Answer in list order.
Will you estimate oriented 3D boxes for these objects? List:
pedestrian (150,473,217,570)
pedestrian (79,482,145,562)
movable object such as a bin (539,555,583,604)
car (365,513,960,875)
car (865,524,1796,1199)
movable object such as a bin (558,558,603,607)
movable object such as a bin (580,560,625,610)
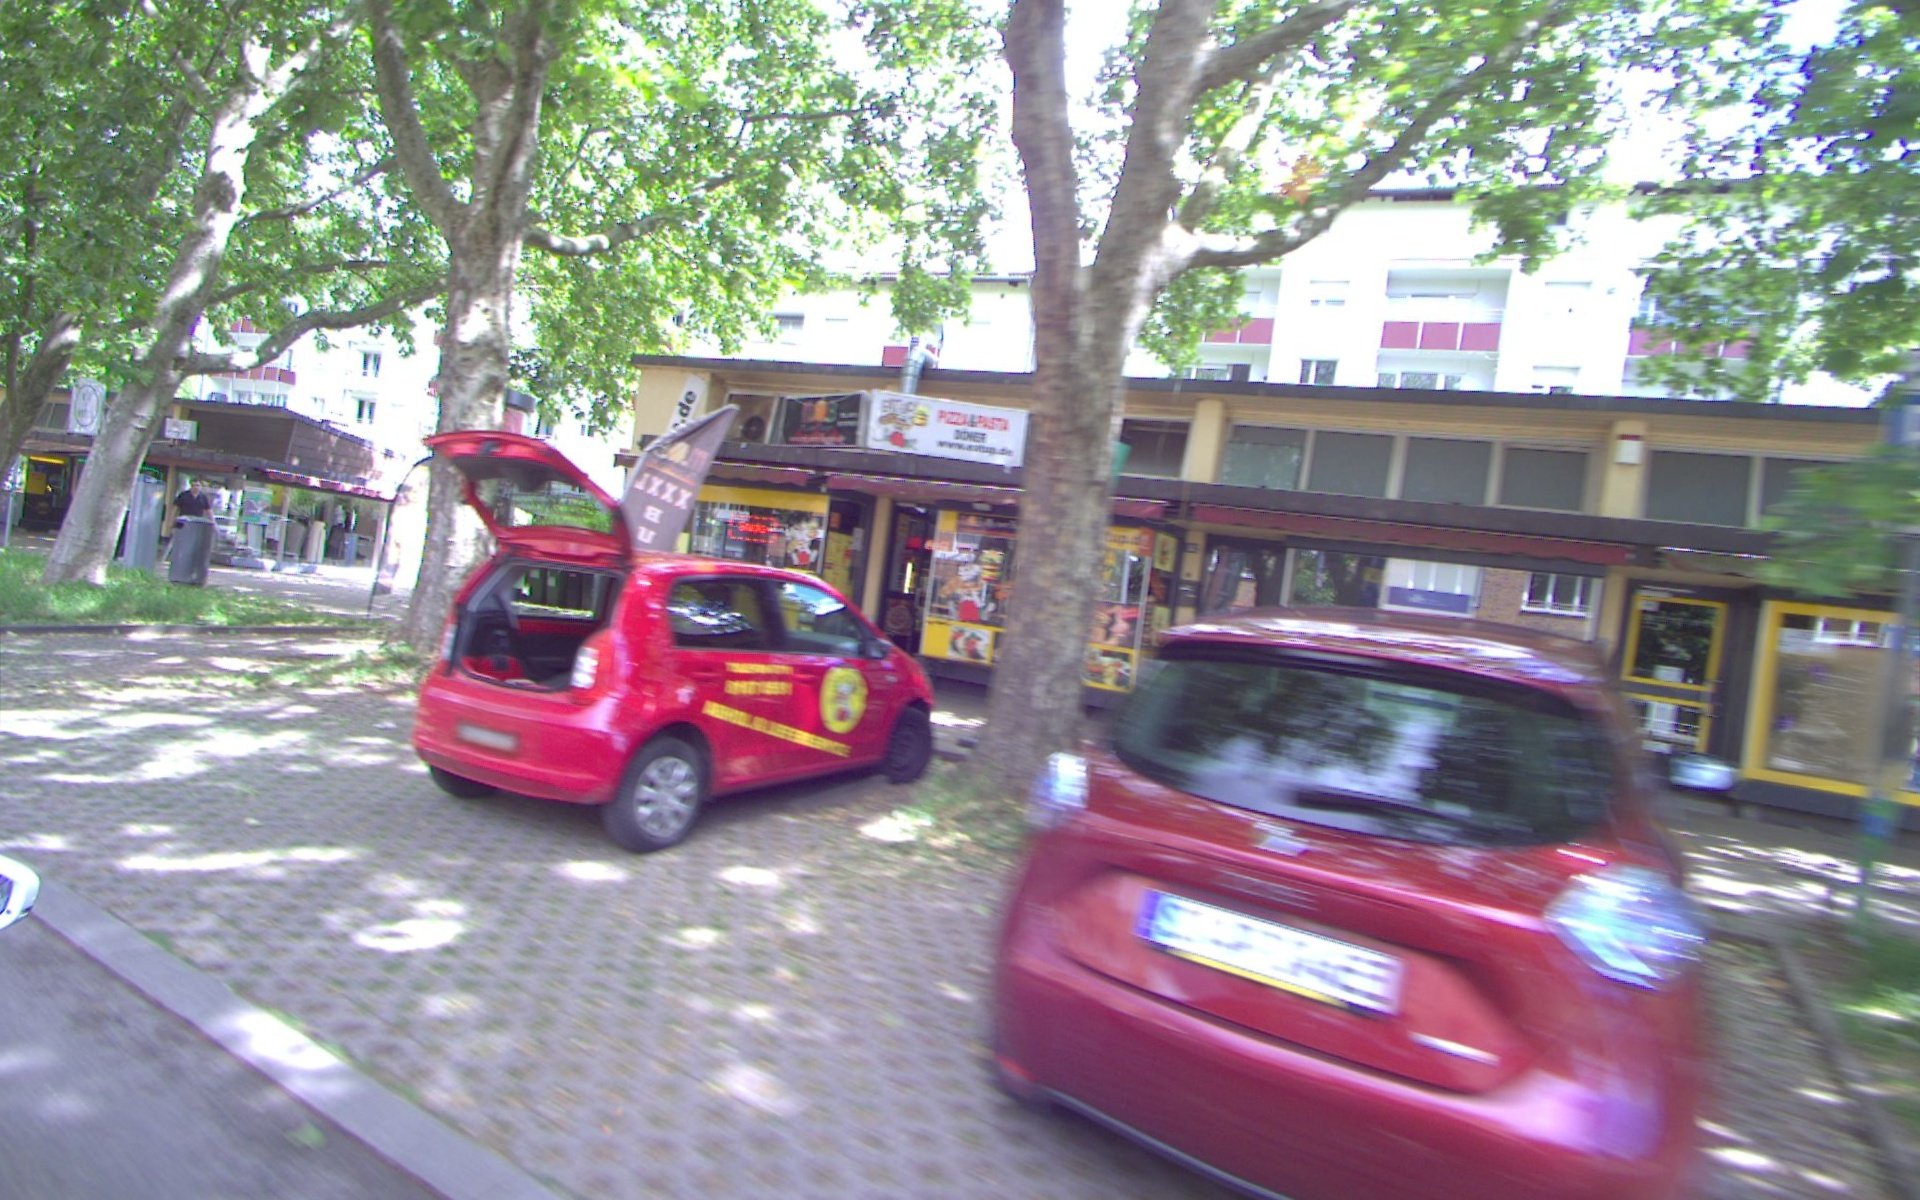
[{"bbox_3d":[-16.224,-1.633,21.009,0.926,1.908,0.743,6,2,32],"label":"pedestrian"},{"bbox_3d":[-17.142,-1.577,20.334,1.012,1.465,0.626,7,0,32],"label":"pedestrian"},{"bbox_3d":[-9.403,-0.480,23.718,0.636,1.046,0.625,7,1,28],"label":"movable object such as a bin"},{"bbox_3d":[-1.563,0.435,6.373,1.582,1.535,3.410,7,2,28],"label":"car"},{"bbox_3d":[1.658,0.773,3.746,1.703,1.633,4.027,7,3,35],"label":"car"},{"bbox_3d":[-8.802,-0.408,23.369,0.636,1.046,0.625,7,1,28],"label":"movable object such as a bin"},{"bbox_3d":[-8.194,-0.333,23.066,0.636,1.046,0.625,7,1,28],"label":"movable object such as a bin"}]
